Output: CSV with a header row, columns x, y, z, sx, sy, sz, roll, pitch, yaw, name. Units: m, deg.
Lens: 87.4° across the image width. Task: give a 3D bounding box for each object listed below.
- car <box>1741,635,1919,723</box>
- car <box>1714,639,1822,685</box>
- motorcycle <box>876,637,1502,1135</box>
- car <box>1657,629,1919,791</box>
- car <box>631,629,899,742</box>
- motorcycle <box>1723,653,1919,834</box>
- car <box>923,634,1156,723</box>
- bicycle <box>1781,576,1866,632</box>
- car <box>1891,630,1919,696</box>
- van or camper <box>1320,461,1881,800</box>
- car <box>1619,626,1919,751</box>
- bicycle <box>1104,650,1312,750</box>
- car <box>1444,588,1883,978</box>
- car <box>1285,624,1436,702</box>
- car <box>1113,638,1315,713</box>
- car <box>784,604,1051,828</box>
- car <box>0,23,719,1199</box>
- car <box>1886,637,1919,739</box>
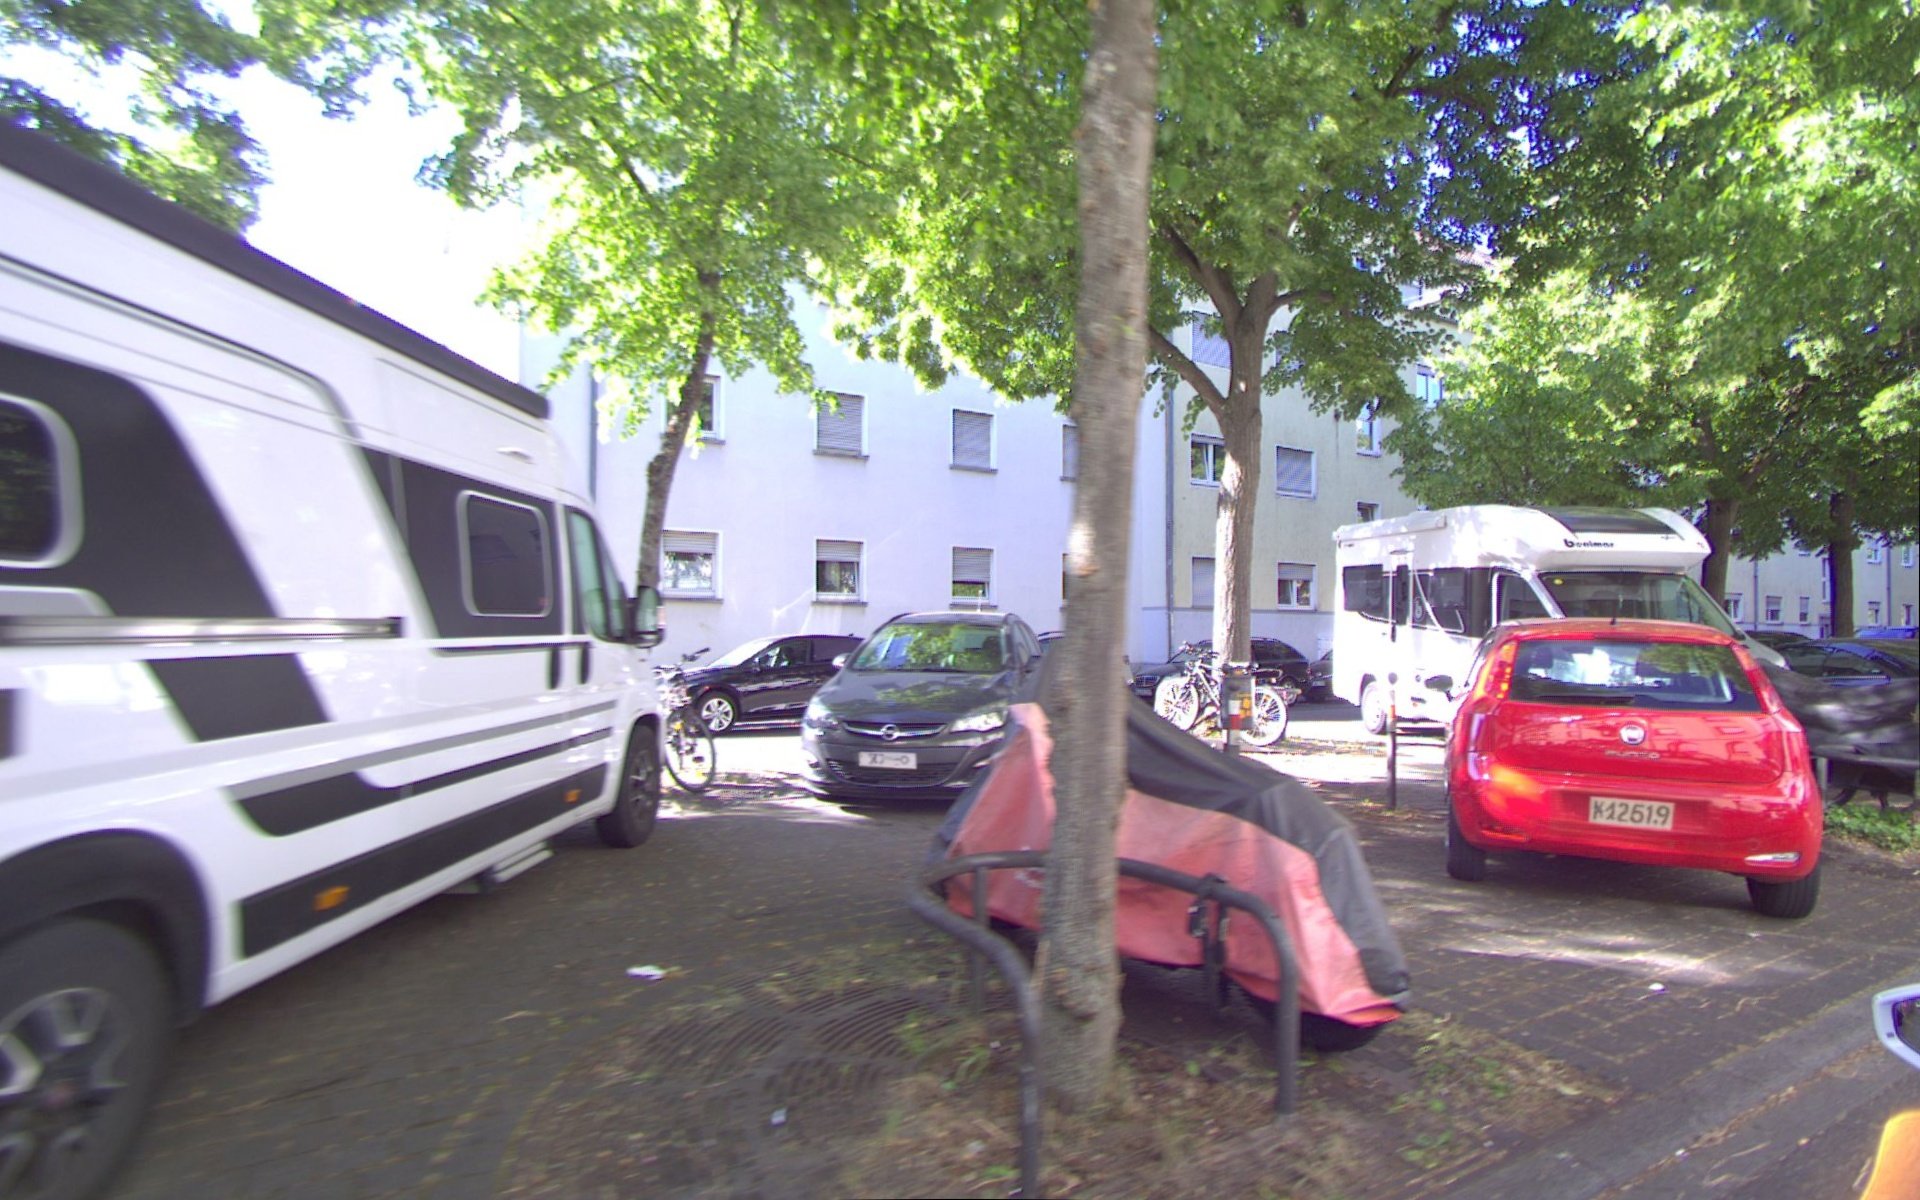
x,y,z,sx,sy,sz,roll,pitch,yaw,name
16.767,1.377,18.400,1.782,1.409,4.201,1,-1,3,car
29.300,2.225,36.403,4.116,1.585,1.882,1,-3,-34,car
0.718,0.822,3.951,0.961,1.352,2.300,2,-2,-40,motorcycle
9.434,1.044,10.347,1.681,1.444,4.159,1,-2,1,car
-2.971,1.259,15.540,3.725,1.538,1.697,2,-4,-34,car
7.163,1.057,7.553,0.868,1.246,2.143,1,-1,-22,motorcycle
1.495,1.371,18.307,4.039,1.454,1.739,1,-4,-34,car
19.357,0.096,22.523,1.768,1.216,0.356,1,0,-8,bicycle
22.956,1.421,21.669,1.835,1.492,4.115,1,-2,-2,car
6.650,0.313,11.780,2.361,2.862,6.305,1,-1,-2,van or camper
11.820,1.153,14.414,1.796,1.505,3.995,1,-1,-7,car
2.848,1.119,11.809,0.628,0.991,2.418,2,-1,-43,bicycle
4.030,0.866,6.358,1.633,1.639,3.876,-1,-3,27,car
9.435,1.477,23.619,3.563,1.698,1.466,1,-5,-34,car
5.311,1.498,20.834,4.259,1.417,1.635,1,-3,-34,car
-0.362,0.859,8.864,1.798,1.505,4.137,0,-2,-2,car
-2.974,0.208,4.019,2.292,2.592,6.330,1,-1,1,car
14.729,1.210,13.191,1.593,1.493,4.023,0,-3,4,car
